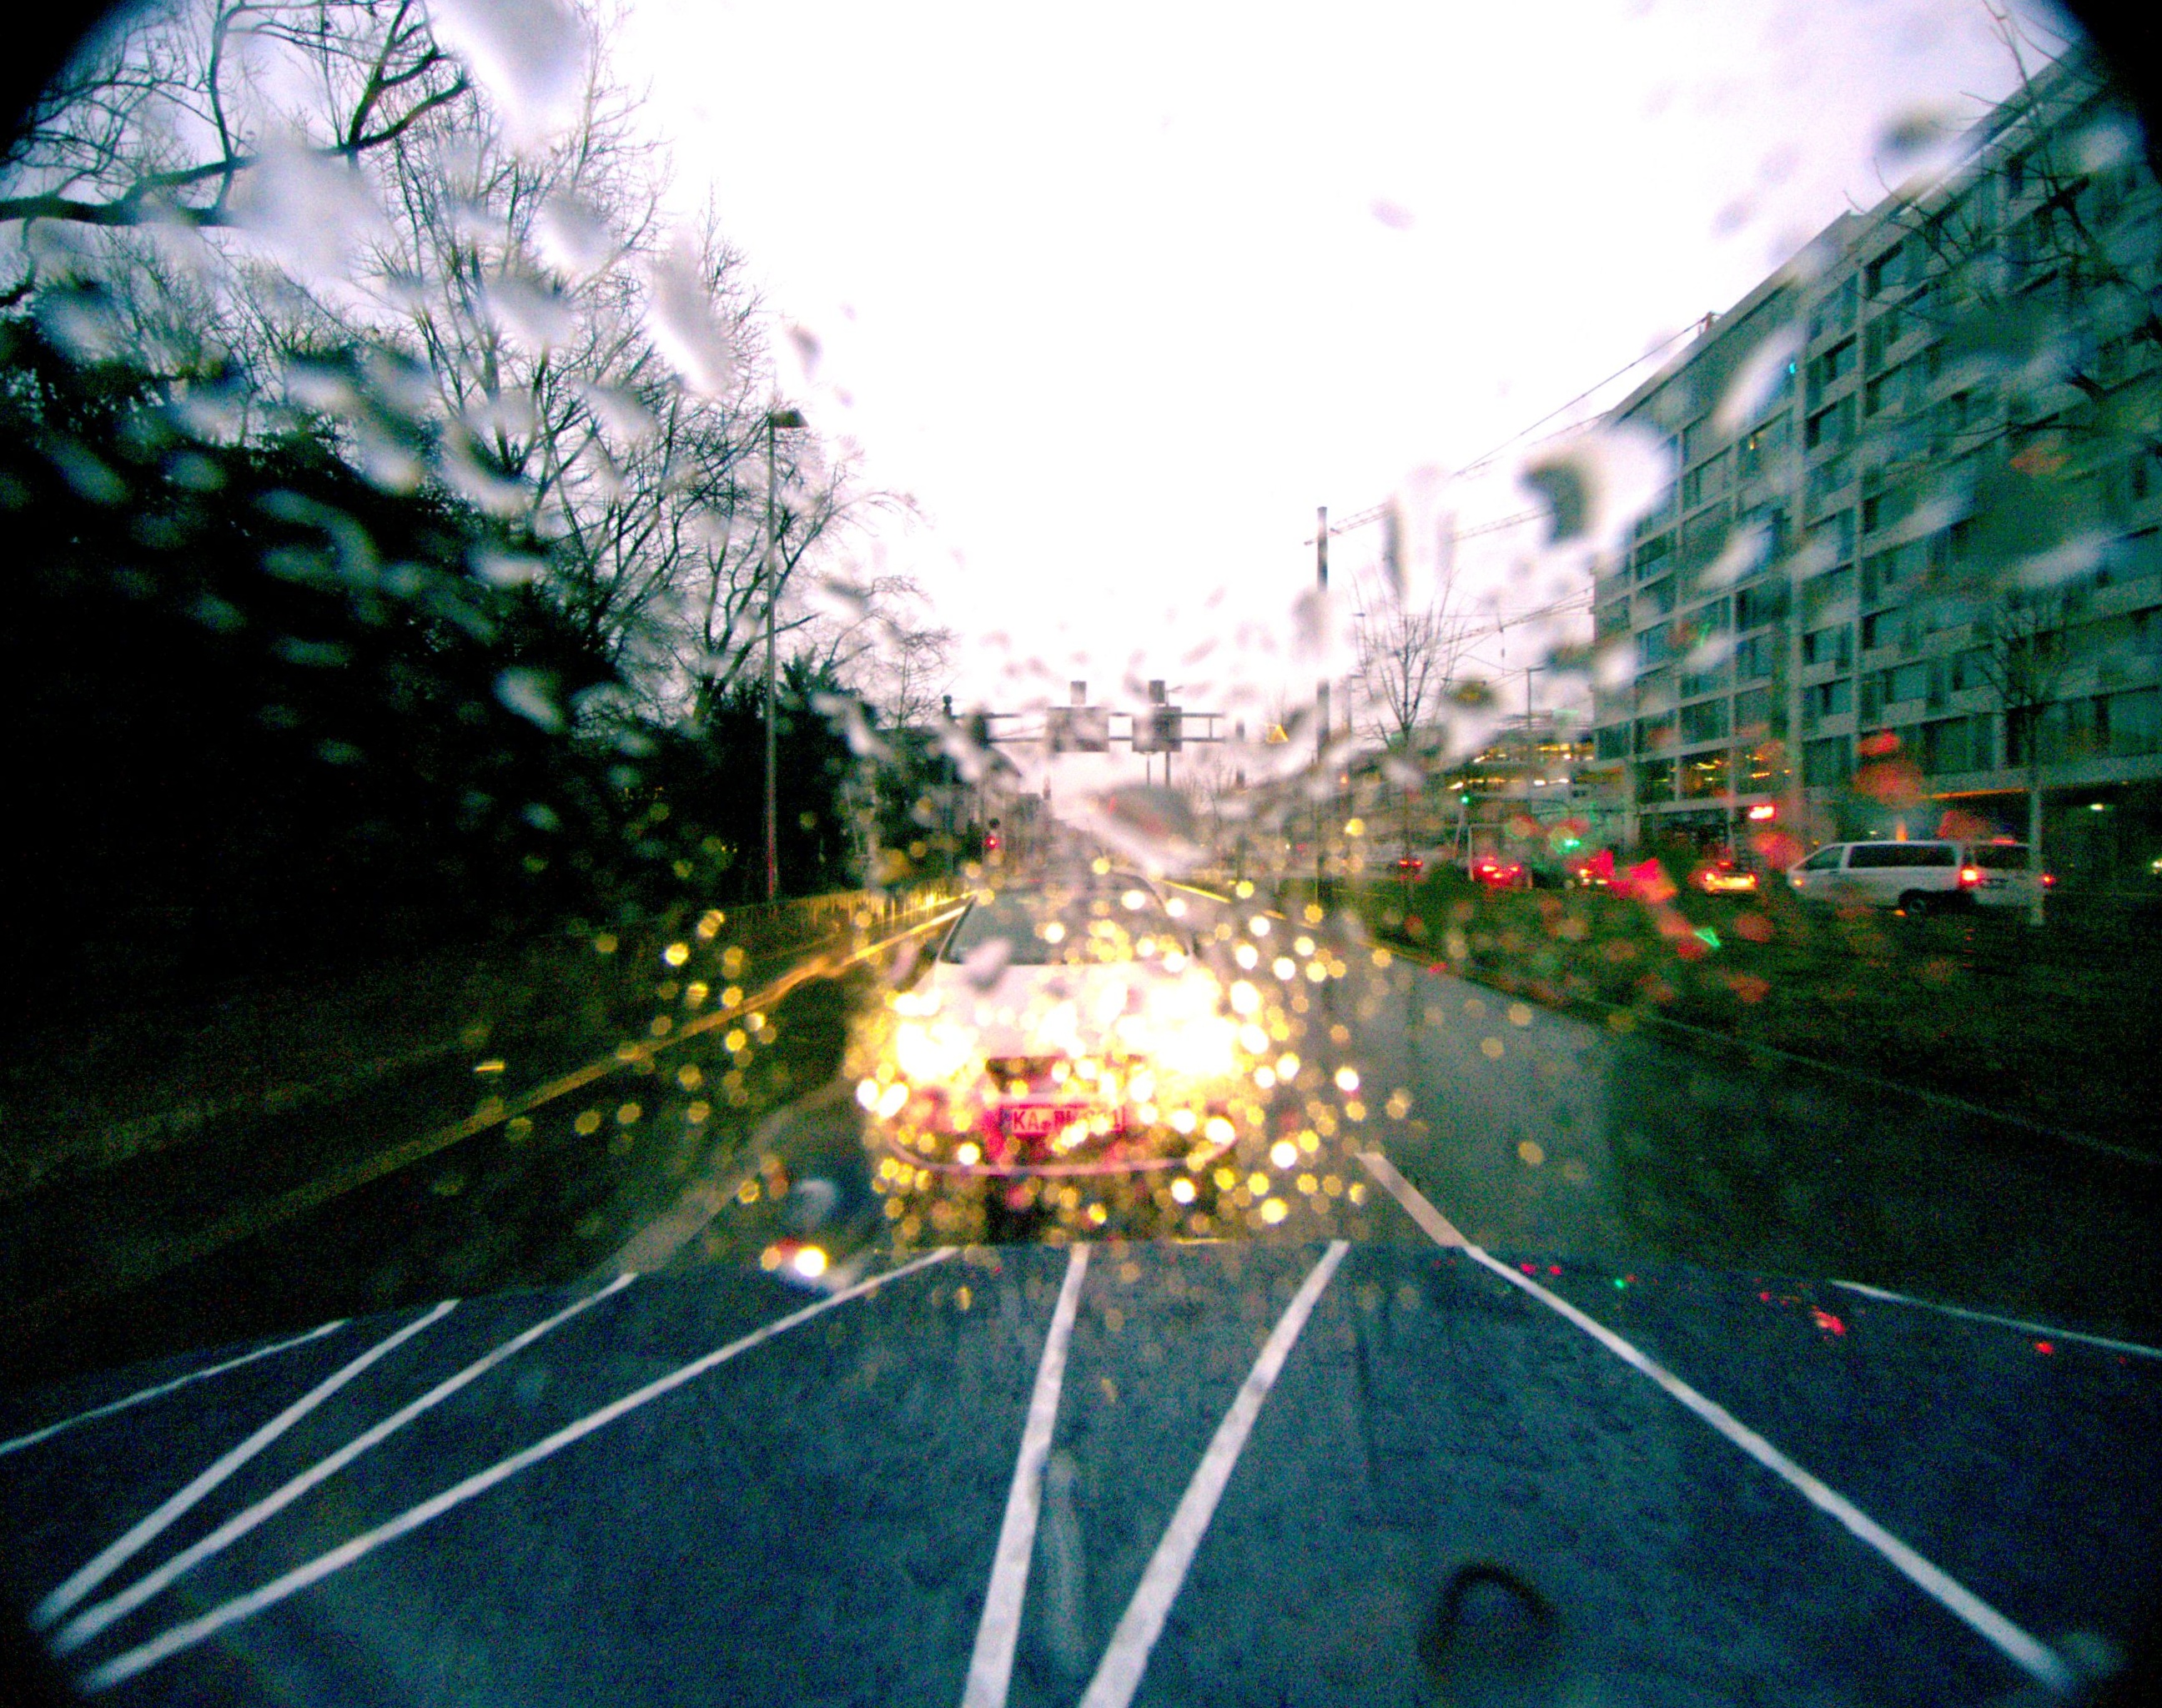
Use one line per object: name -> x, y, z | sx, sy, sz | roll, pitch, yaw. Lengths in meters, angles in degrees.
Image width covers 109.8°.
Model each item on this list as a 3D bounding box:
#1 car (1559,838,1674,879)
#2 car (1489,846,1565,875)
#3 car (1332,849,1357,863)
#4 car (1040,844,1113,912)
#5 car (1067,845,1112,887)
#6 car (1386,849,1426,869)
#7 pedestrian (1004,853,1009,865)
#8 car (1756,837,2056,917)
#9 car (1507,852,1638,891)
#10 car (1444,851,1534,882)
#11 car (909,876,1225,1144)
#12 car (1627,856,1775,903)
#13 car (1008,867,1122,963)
car -> 24.385, 0.183, 34.865 | 1.900, 1.709, 4.916 | 0, 0, 1
car -> 27.637, 0.368, 47.276 | 1.900, 1.709, 4.916 | 0, 0, 1
car -> 33.303, 0.250, 96.010 | 1.900, 1.709, 4.918 | 0, 0, 5
car -> -0.117, 0.579, 21.033 | 1.781, 1.666, 3.981 | -2, 1, 0
car -> 0.360, 0.460, 32.962 | 1.781, 1.666, 3.981 | -2, 1, 0
car -> 29.154, 0.445, 68.337 | 1.900, 1.709, 4.918 | 0, 0, 5
pedestrian -> -9.299, 0.614, 94.802 | 0.521, 1.501, 0.588 | 0, 1, 1
car -> 19.894, 0.488, 18.786 | 1.900, 1.709, 5.118 | 0, 0, 1
car -> 20.499, 0.672, 31.918 | 2.001, 1.488, 4.444 | 0, 0, -15
car -> 20.597, 0.580, 38.663 | 1.998, 1.459, 5.034 | 0, 0, 1
car -> -0.080, 0.968, 6.419 | 1.798, 1.363, 3.981 | -2, 1, 0
car -> 20.379, 0.798, 25.190 | 1.901, 1.423, 3.706 | 0, 0, 0
car -> -0.250, 0.977, 13.707 | 1.728, 1.318, 3.981 | -2, 1, 0
